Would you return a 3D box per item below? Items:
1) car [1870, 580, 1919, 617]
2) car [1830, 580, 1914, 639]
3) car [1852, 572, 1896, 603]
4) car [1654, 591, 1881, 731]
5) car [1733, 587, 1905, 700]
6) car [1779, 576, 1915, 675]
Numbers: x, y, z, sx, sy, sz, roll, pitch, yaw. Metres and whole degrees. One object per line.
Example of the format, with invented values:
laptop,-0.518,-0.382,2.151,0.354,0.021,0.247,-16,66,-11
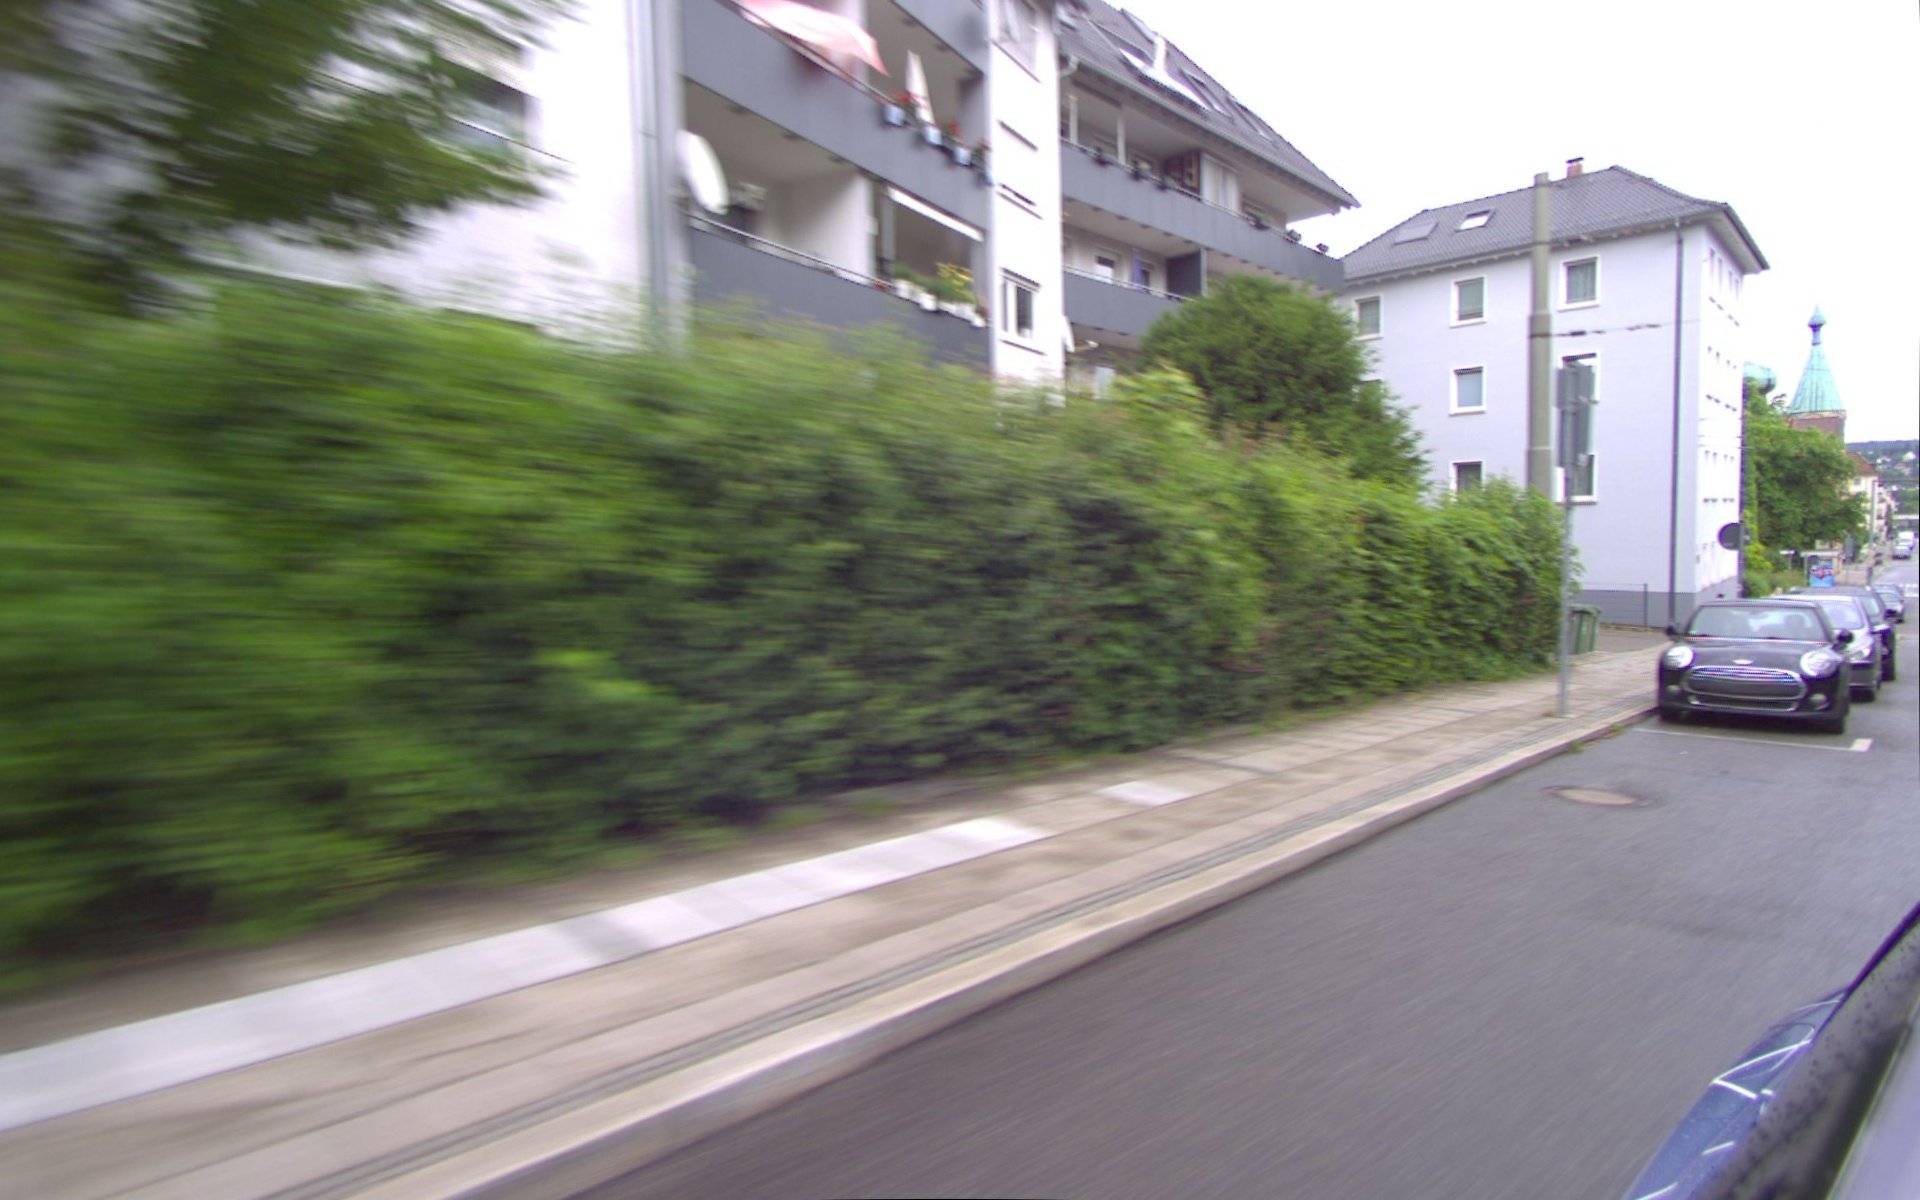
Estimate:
car,45.013,-0.111,48.622,1.722,1.704,3.935,1,1,45
car,28.277,0.248,31.341,1.722,1.704,3.935,1,1,45
car,53.817,-0.748,59.568,1.722,1.704,3.935,1,1,45
car,9.840,0.594,12.227,1.722,1.375,3.935,1,2,45
car,13.407,0.560,15.718,1.722,1.506,3.935,1,2,45
car,17.099,0.407,19.450,1.722,1.704,3.935,1,1,45
